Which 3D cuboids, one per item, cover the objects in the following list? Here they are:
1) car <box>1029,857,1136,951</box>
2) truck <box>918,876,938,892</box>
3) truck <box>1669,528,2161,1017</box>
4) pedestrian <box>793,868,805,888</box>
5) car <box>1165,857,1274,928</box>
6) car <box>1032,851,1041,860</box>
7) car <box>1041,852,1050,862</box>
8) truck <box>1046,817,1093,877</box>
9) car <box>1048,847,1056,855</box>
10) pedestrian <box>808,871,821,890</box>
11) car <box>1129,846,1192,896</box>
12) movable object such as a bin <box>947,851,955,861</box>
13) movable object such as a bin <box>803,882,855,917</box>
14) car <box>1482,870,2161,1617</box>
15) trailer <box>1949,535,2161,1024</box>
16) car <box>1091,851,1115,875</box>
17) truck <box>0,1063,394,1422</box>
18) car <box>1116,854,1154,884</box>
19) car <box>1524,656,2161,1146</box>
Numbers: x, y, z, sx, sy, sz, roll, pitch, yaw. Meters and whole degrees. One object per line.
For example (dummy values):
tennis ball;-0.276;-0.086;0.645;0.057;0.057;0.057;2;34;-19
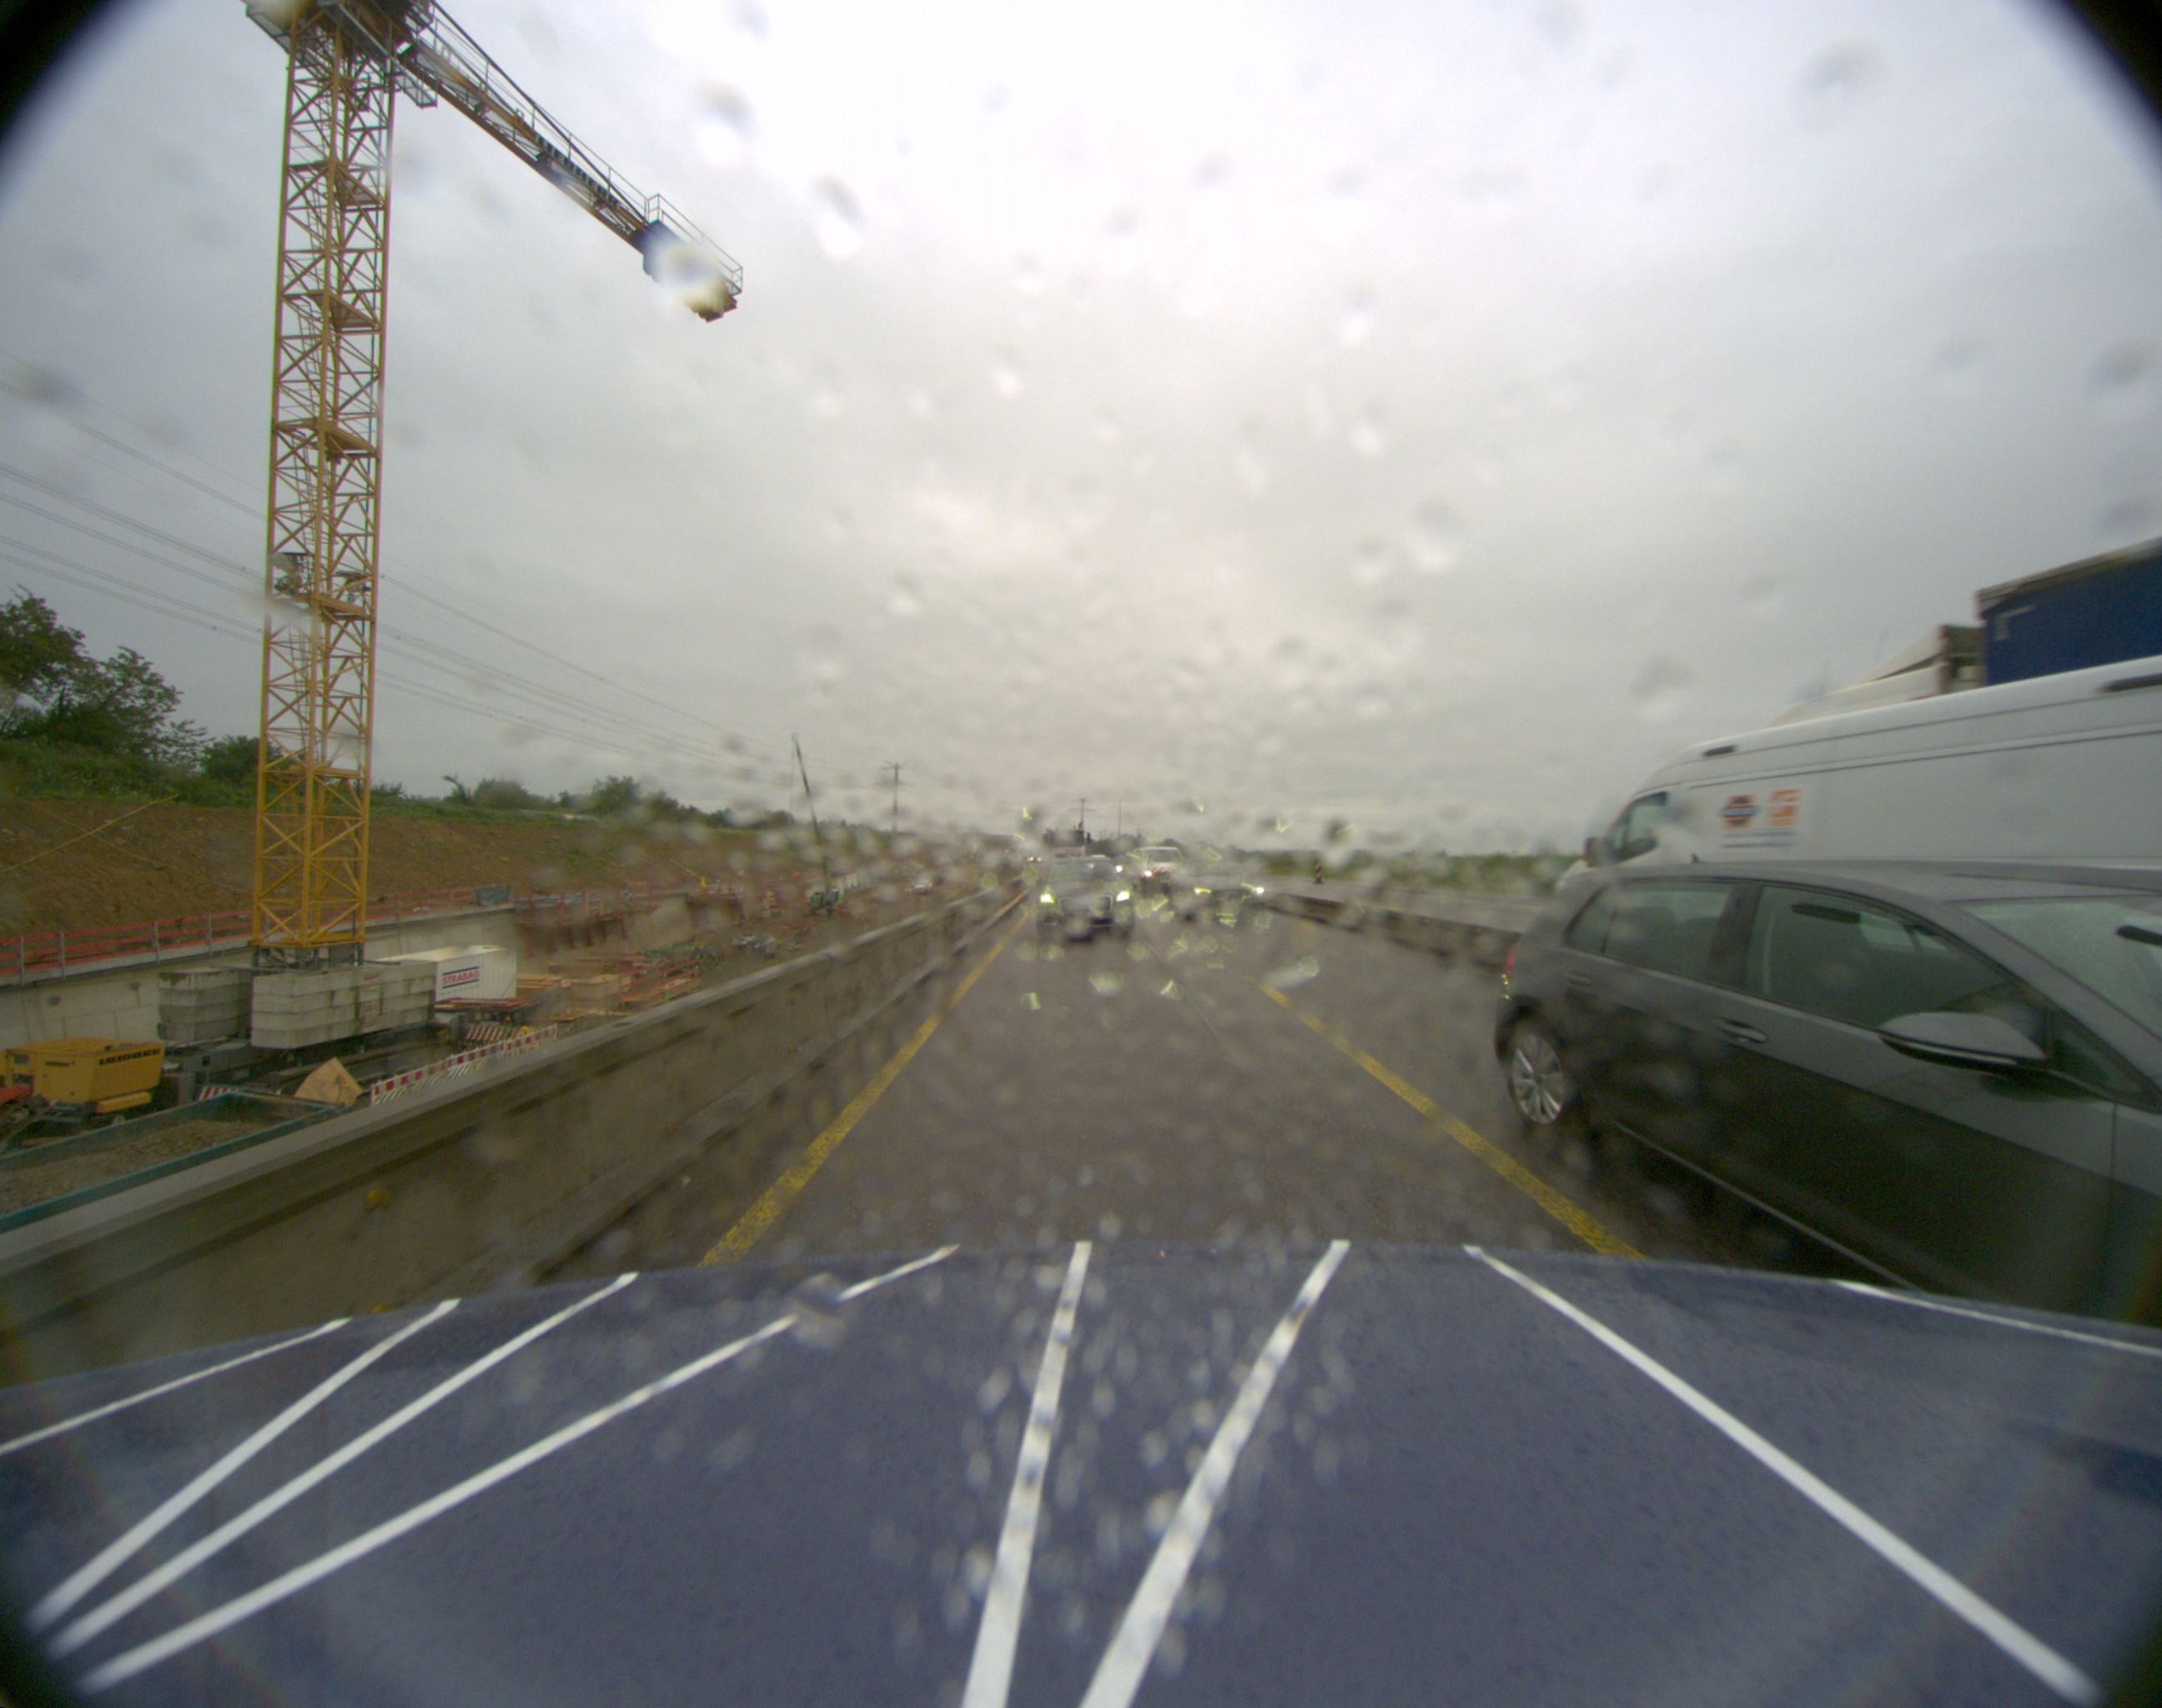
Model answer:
car;0.059;0.876;15.280;1.799;1.524;4.307;-2;0;1
truck;-20.633;4.039;102.589;1.767;1.860;5.783;0;1;-4
truck;10.319;-0.681;8.603;2.795;4.011;5.820;-2;0;1
pedestrian;-34.858;2.953;93.948;0.918;2.233;1.005;-6;2;-7
car;3.214;0.838;18.449;1.800;1.389;4.268;-2;1;-1
car;-10.251;0.323;176.204;1.800;1.851;4.285;-2;1;-1
car;-7.138;0.593;153.615;1.800;1.851;4.285;-2;1;-2
truck;-0.822;-0.496;51.571;2.837;3.617;9.117;-2;1;-1
car;-7.268;-0.702;190.875;1.800;1.851;4.285;-2;1;-1
pedestrian;-33.008;3.307;94.126;0.917;2.219;1.005;-6;2;0
car;3.256;0.625;32.151;2.161;1.848;5.179;-2;1;1
movable object such as a bin;-38.793;0.615;226.835;2.253;2.703;3.997;-2;1;-7
movable object such as a bin;-25.394;4.552;76.838;3.803;2.790;4.848;-1;6;-4
car;3.061;0.847;2.223;1.653;1.414;4.080;-1;1;1
trailer;10.210;-0.686;0.860;2.786;4.011;13.742;-2;0;1
car;1.875;0.733;65.641;1.800;1.851;4.285;-2;1;-2
truck;-16.320;6.203;11.342;2.703;3.483;8.954;-2;1;12
car;3.098;0.833;44.561;1.800;1.521;4.066;-2;1;-1
car;6.786;0.250;6.343;2.011;2.638;6.884;-2;0;-1
